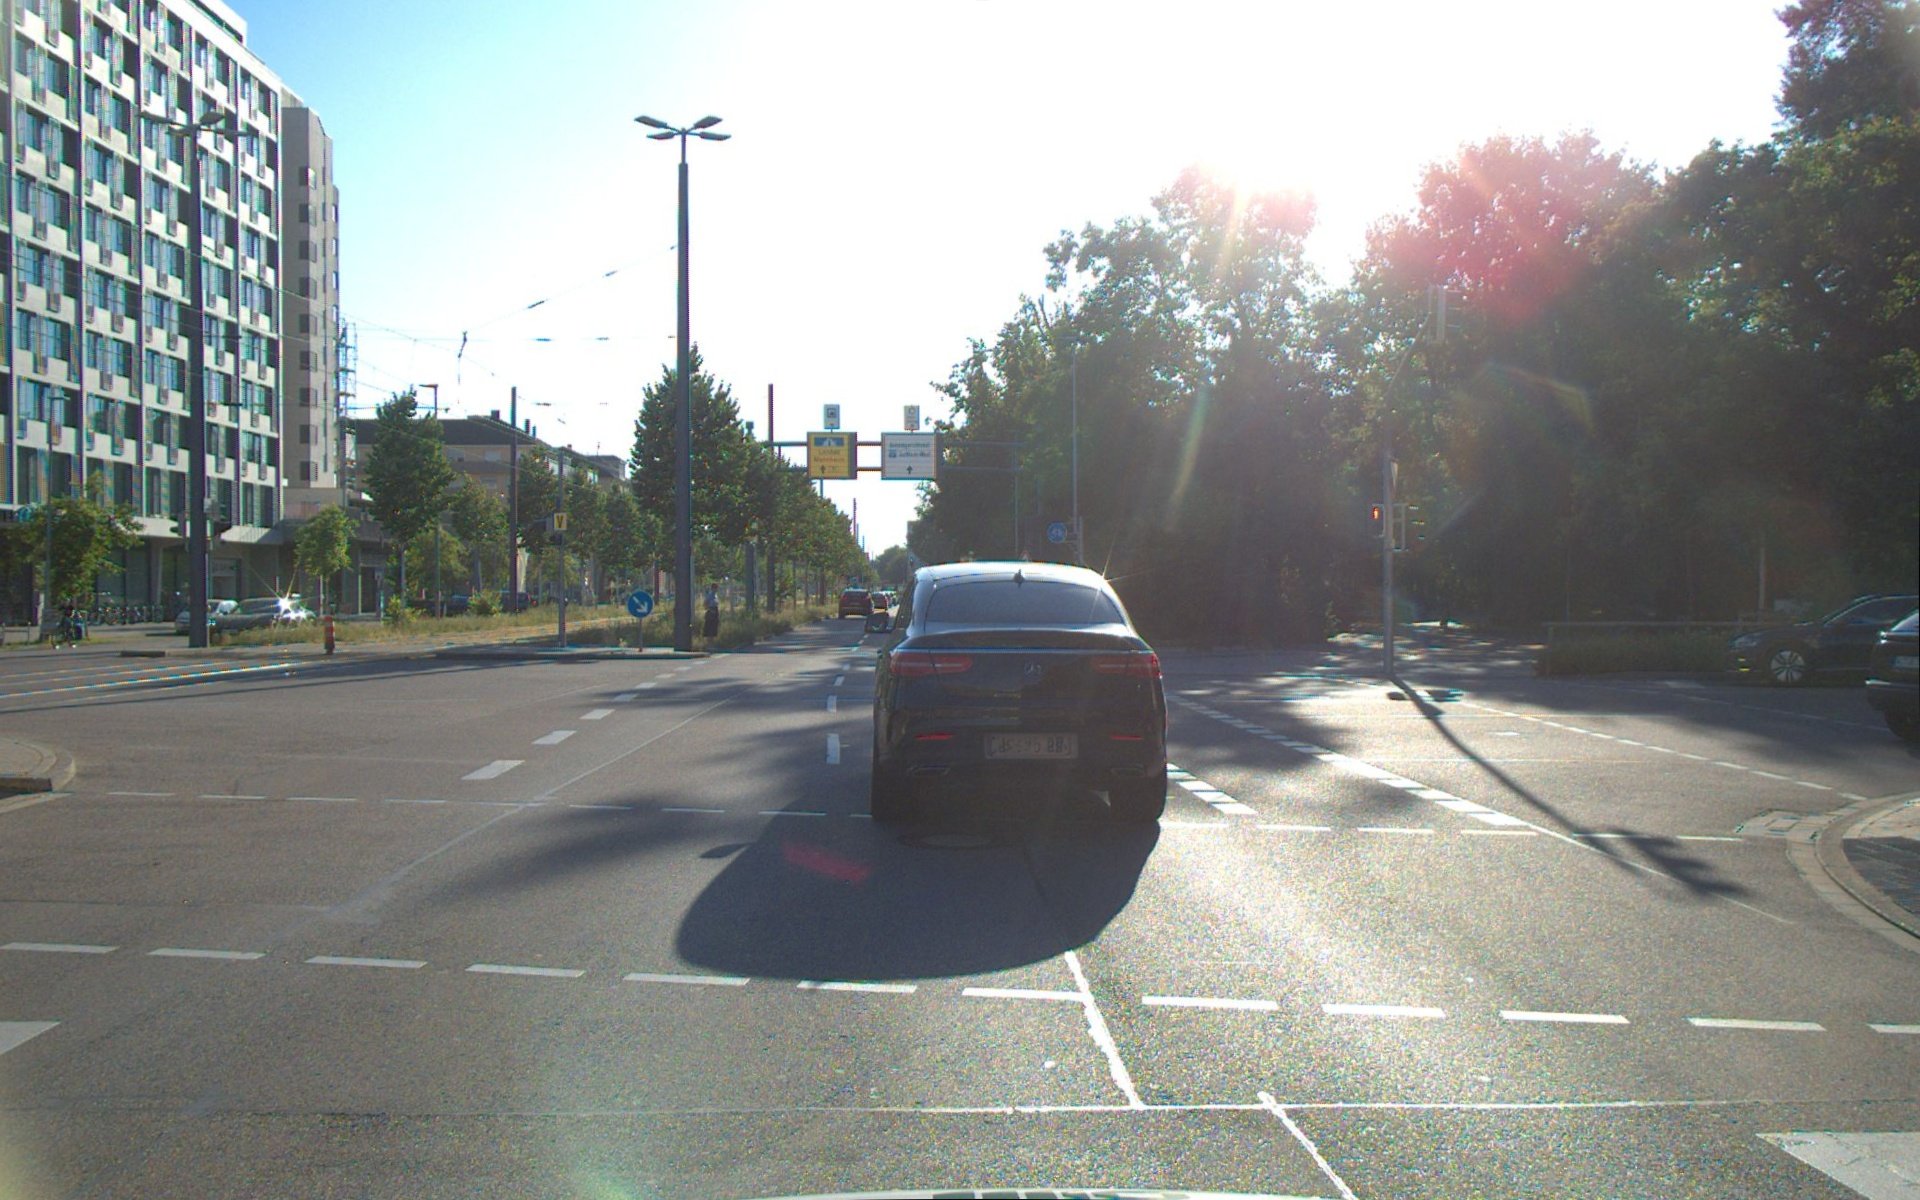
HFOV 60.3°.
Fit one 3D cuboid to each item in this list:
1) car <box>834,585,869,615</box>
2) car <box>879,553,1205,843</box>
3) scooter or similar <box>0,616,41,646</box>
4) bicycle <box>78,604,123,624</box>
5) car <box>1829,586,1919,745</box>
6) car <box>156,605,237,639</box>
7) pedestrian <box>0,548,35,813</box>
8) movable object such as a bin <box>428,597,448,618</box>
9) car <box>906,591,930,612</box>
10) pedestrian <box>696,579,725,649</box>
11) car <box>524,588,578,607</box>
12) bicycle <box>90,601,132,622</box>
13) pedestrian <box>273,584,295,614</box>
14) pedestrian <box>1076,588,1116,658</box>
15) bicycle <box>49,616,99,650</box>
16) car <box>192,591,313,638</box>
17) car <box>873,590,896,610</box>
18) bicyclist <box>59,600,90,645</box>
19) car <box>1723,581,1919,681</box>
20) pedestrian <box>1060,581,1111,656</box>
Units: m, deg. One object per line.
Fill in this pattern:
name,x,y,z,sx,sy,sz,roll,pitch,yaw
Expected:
car,-5.996,-0.010,92.040,1.848,1.608,3.998,1,1,-3
car,0.413,0.572,12.159,1.954,1.764,3.998,1,1,-3
scooter or similar,-32.349,1.067,56.879,1.218,1.037,0.435,-1,0,-1
bicycle,-40.208,0.645,77.403,1.770,0.920,0.511,0,0,-9
car,11.296,0.648,16.880,3.970,1.554,1.899,0,0,-9
car,-32.969,0.927,71.533,1.721,1.351,3.999,1,0,-2
pedestrian,-6.560,0.511,10.584,0.907,1.678,0.764,0,0,30
movable object such as a bin,-33.560,0.473,106.364,0.839,1.303,0.940,0,0,12
car,-3.339,0.113,131.410,1.848,1.608,3.998,1,1,-3
pedestrian,-6.278,0.345,41.674,0.586,1.729,0.714,0,0,3
car,-34.472,-0.206,139.376,3.969,1.590,1.968,1,0,-44
bicycle,-40.487,0.549,78.909,1.716,0.983,0.483,1,0,-3
pedestrian,-38.612,-0.065,94.453,0.826,1.682,0.970,0,0,0
pedestrian,3.354,0.560,40.774,0.752,1.665,0.768,-2,0,-12
bicycle,-30.034,1.102,56.085,0.612,1.085,2.077,0,0,-1
car,-21.942,0.421,51.503,1.853,1.367,4.848,0,0,-3
car,-6.341,-0.008,138.329,1.848,1.608,3.998,1,1,-3
bicyclist,-30.033,0.760,56.103,0.612,1.490,0.851,0,0,-1
car,14.391,0.470,25.705,4.493,1.500,1.903,0,0,23
pedestrian,3.154,0.452,41.548,0.850,1.833,0.895,-2,0,-37
